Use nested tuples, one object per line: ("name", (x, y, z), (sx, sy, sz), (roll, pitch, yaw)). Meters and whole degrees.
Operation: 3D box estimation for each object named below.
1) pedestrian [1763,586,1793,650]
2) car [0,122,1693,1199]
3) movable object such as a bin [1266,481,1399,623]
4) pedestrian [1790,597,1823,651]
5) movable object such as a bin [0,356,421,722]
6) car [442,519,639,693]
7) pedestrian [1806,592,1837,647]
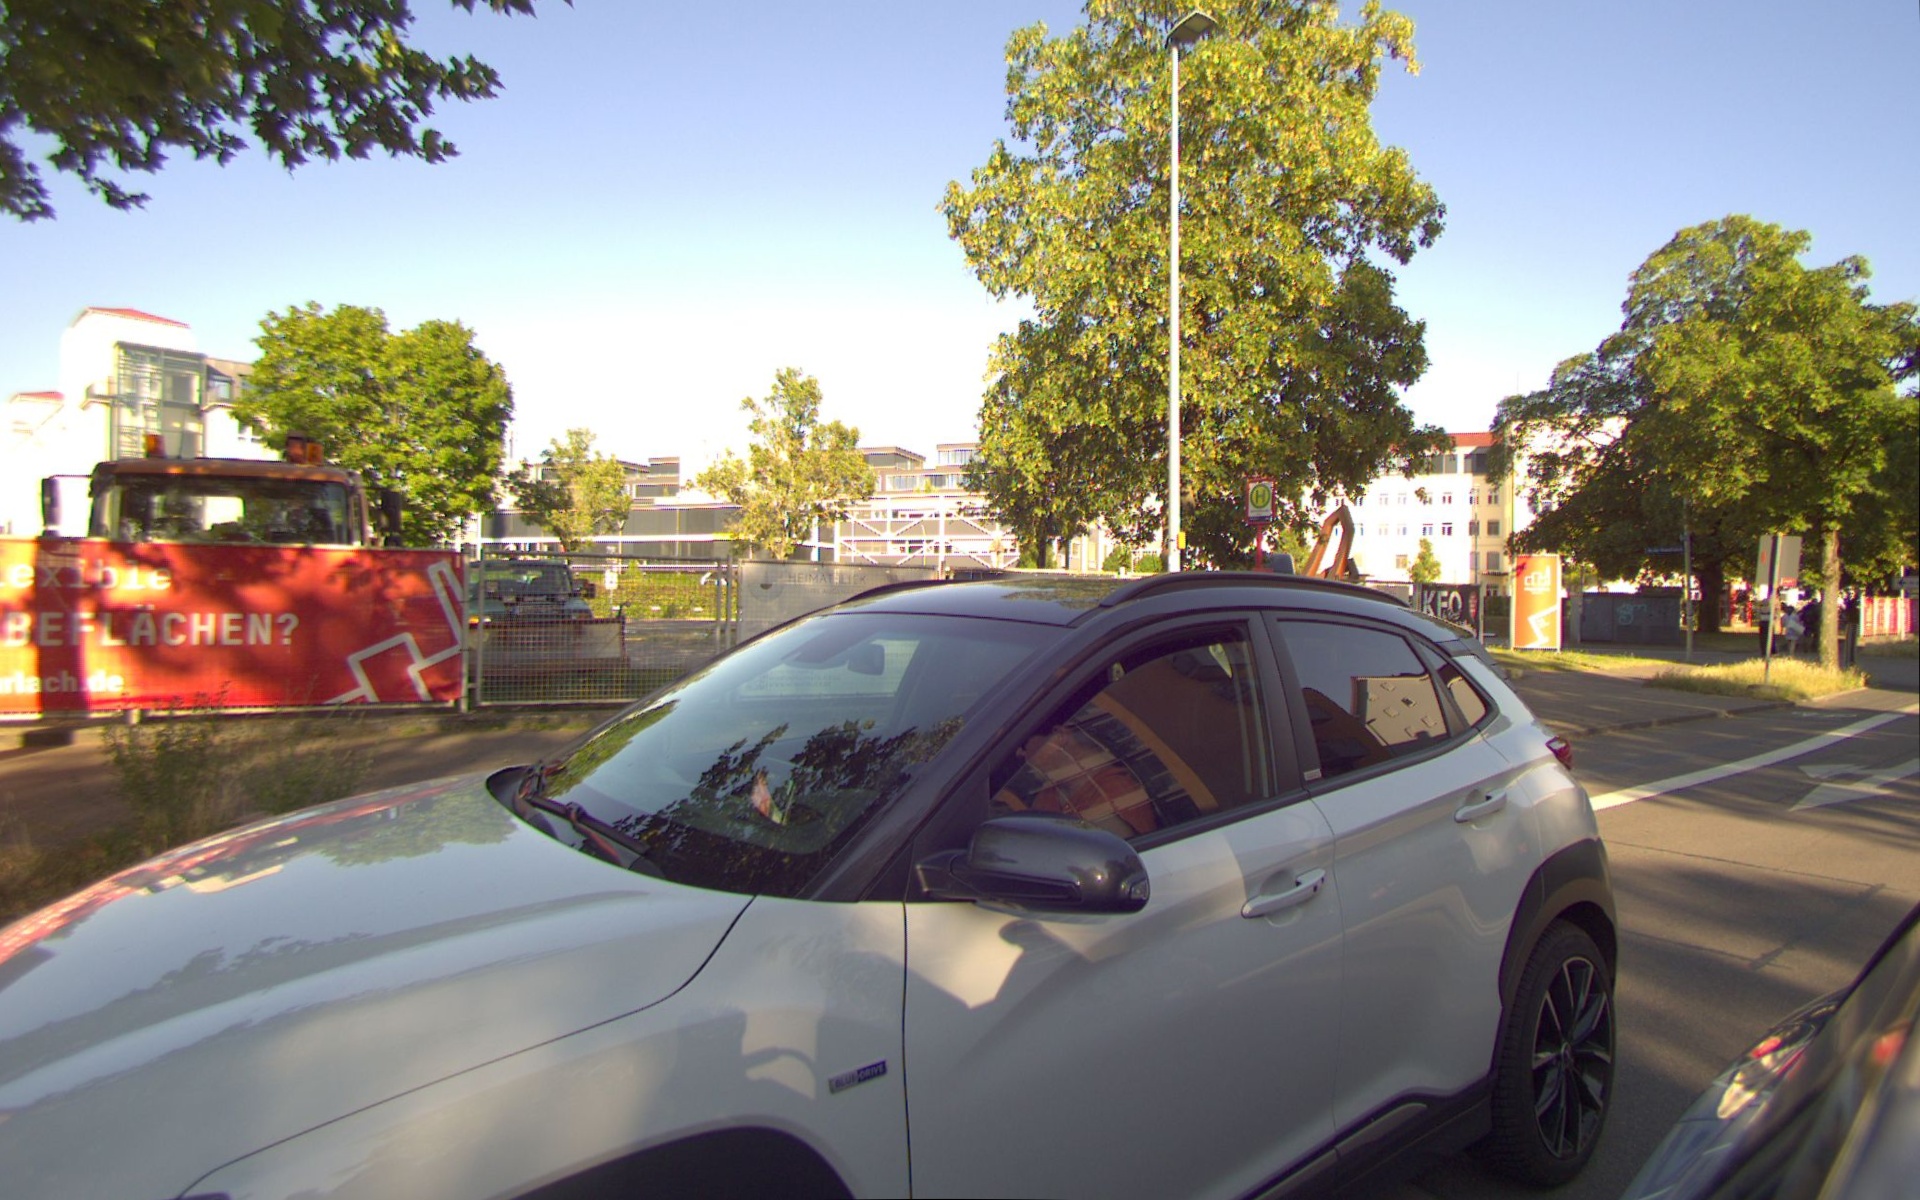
("pedestrian", (23.169, 0.498, 28.662), (0.607, 1.759, 0.629), (0, 0, 44))
("car", (0.022, 0.542, 2.436), (3.893, 1.618, 1.894), (3, -2, -39))
("movable object such as a bin", (15.527, -1.885, 42.766), (3.910, 5.547, 6.022), (0, 0, 6))
("pedestrian", (23.283, 0.650, 27.837), (0.627, 1.452, 0.609), (0, 0, -40))
("movable object such as a bin", (-8.386, -0.550, 12.059), (3.154, 3.087, 6.295), (0, 0, -31))
("car", (-5.663, 0.042, 13.298), (2.001, 1.851, 4.612), (0, 0, -28))
("pedestrian", (26.736, 0.597, 31.410), (0.692, 1.689, 0.630), (0, 0, 38))
